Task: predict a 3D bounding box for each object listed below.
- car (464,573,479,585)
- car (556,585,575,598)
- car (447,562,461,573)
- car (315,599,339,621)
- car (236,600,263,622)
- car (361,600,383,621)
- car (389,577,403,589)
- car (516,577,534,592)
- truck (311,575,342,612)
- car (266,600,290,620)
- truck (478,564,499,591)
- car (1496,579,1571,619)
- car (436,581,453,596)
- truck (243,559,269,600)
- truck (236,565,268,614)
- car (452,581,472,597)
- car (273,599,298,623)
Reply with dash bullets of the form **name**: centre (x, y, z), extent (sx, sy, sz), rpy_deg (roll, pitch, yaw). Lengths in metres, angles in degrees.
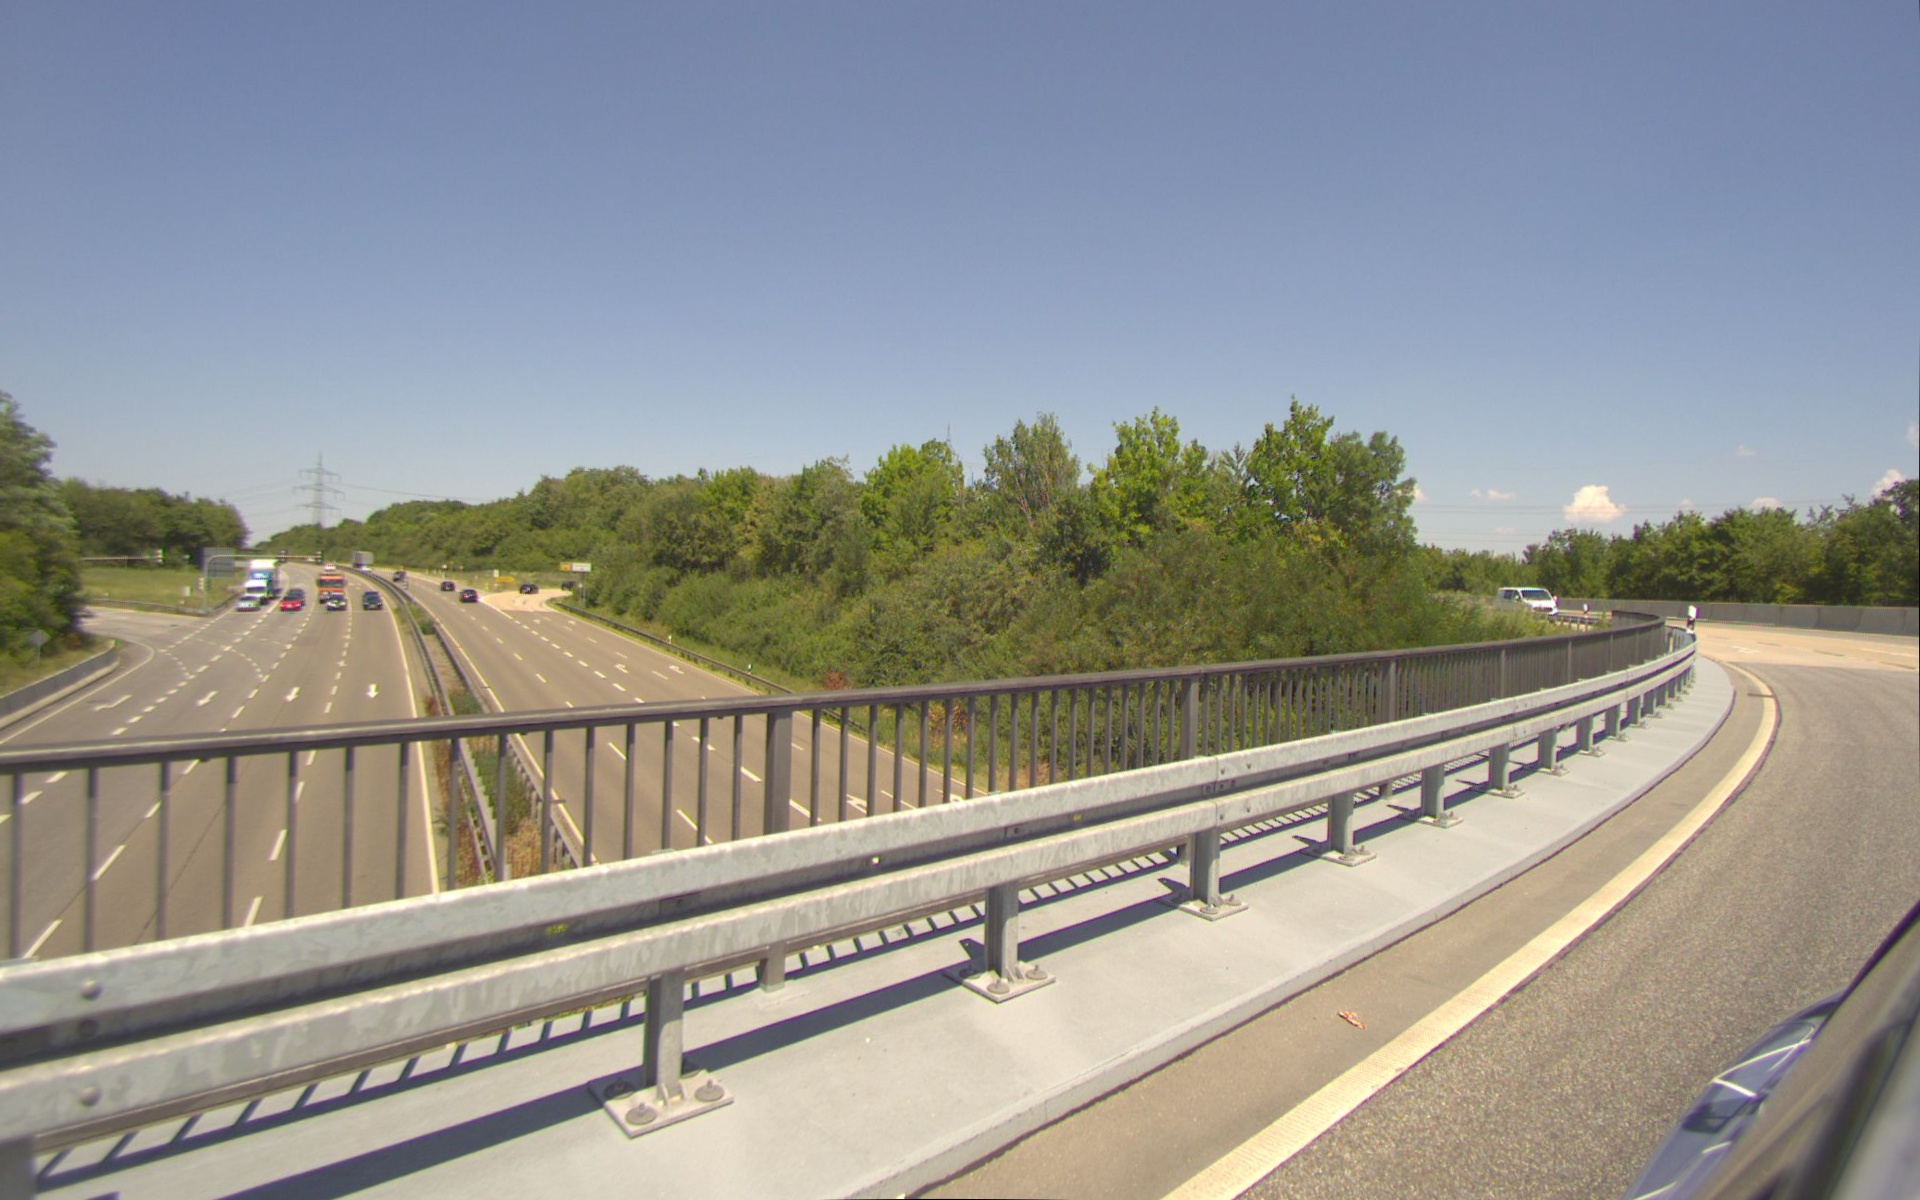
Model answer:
- **car**: centre (-83.305, -3.532, 172.436), extent (1.960, 2.039, 4.004), rpy_deg (0, 1, -31)
- **car**: centre (-64.271, -1.381, 164.929), extent (1.960, 2.038, 4.005), rpy_deg (0, 1, -6)
- **car**: centre (-92.184, -5.880, 184.228), extent (1.960, 2.039, 4.004), rpy_deg (0, 1, -31)
- **car**: centre (-65.403, 1.019, 104.602), extent (1.961, 2.039, 4.004), rpy_deg (0, 1, -31)
- **car**: centre (-71.797, 1.104, 102.292), extent (1.961, 2.039, 4.004), rpy_deg (0, 1, -31)
- **car**: centre (-62.357, 1.064, 107.310), extent (1.961, 2.039, 4.004), rpy_deg (0, 1, -31)
- **car**: centre (-97.588, -2.981, 175.111), extent (1.960, 2.039, 4.004), rpy_deg (0, 1, -31)
- **car**: centre (-64.826, -2.322, 150.858), extent (1.960, 2.039, 4.004), rpy_deg (0, 1, -31)
- **truck**: centre (-72.237, -0.821, 115.544), extent (2.659, 4.060, 8.893), rpy_deg (0, 1, -30)
- **car**: centre (-72.898, 1.023, 108.217), extent (1.961, 2.039, 4.004), rpy_deg (0, 1, -31)
- **truck**: centre (-71.316, -3.388, 153.038), extent (1.960, 4.000, 9.091), rpy_deg (0, 1, -31)
- **car**: centre (33.777, -0.119, 59.807), extent (1.999, 2.110, 5.857), rpy_deg (1, 3, 10)
- **car**: centre (-76.850, -1.721, 150.813), extent (1.960, 2.039, 4.004), rpy_deg (0, 1, -31)
- **truck**: centre (-89.201, -2.618, 128.278), extent (2.376, 5.031, 11.085), rpy_deg (0, 1, -33)
- **truck**: centre (-77.949, -1.257, 111.507), extent (2.528, 5.072, 12.412), rpy_deg (0, 1, -33)
- **car**: centre (-62.000, -1.339, 125.902), extent (1.960, 1.880, 4.004), rpy_deg (0, 1, -31)
- **car**: centre (-68.788, 1.111, 103.206), extent (1.945, 2.237, 4.004), rpy_deg (0, 1, -31)
